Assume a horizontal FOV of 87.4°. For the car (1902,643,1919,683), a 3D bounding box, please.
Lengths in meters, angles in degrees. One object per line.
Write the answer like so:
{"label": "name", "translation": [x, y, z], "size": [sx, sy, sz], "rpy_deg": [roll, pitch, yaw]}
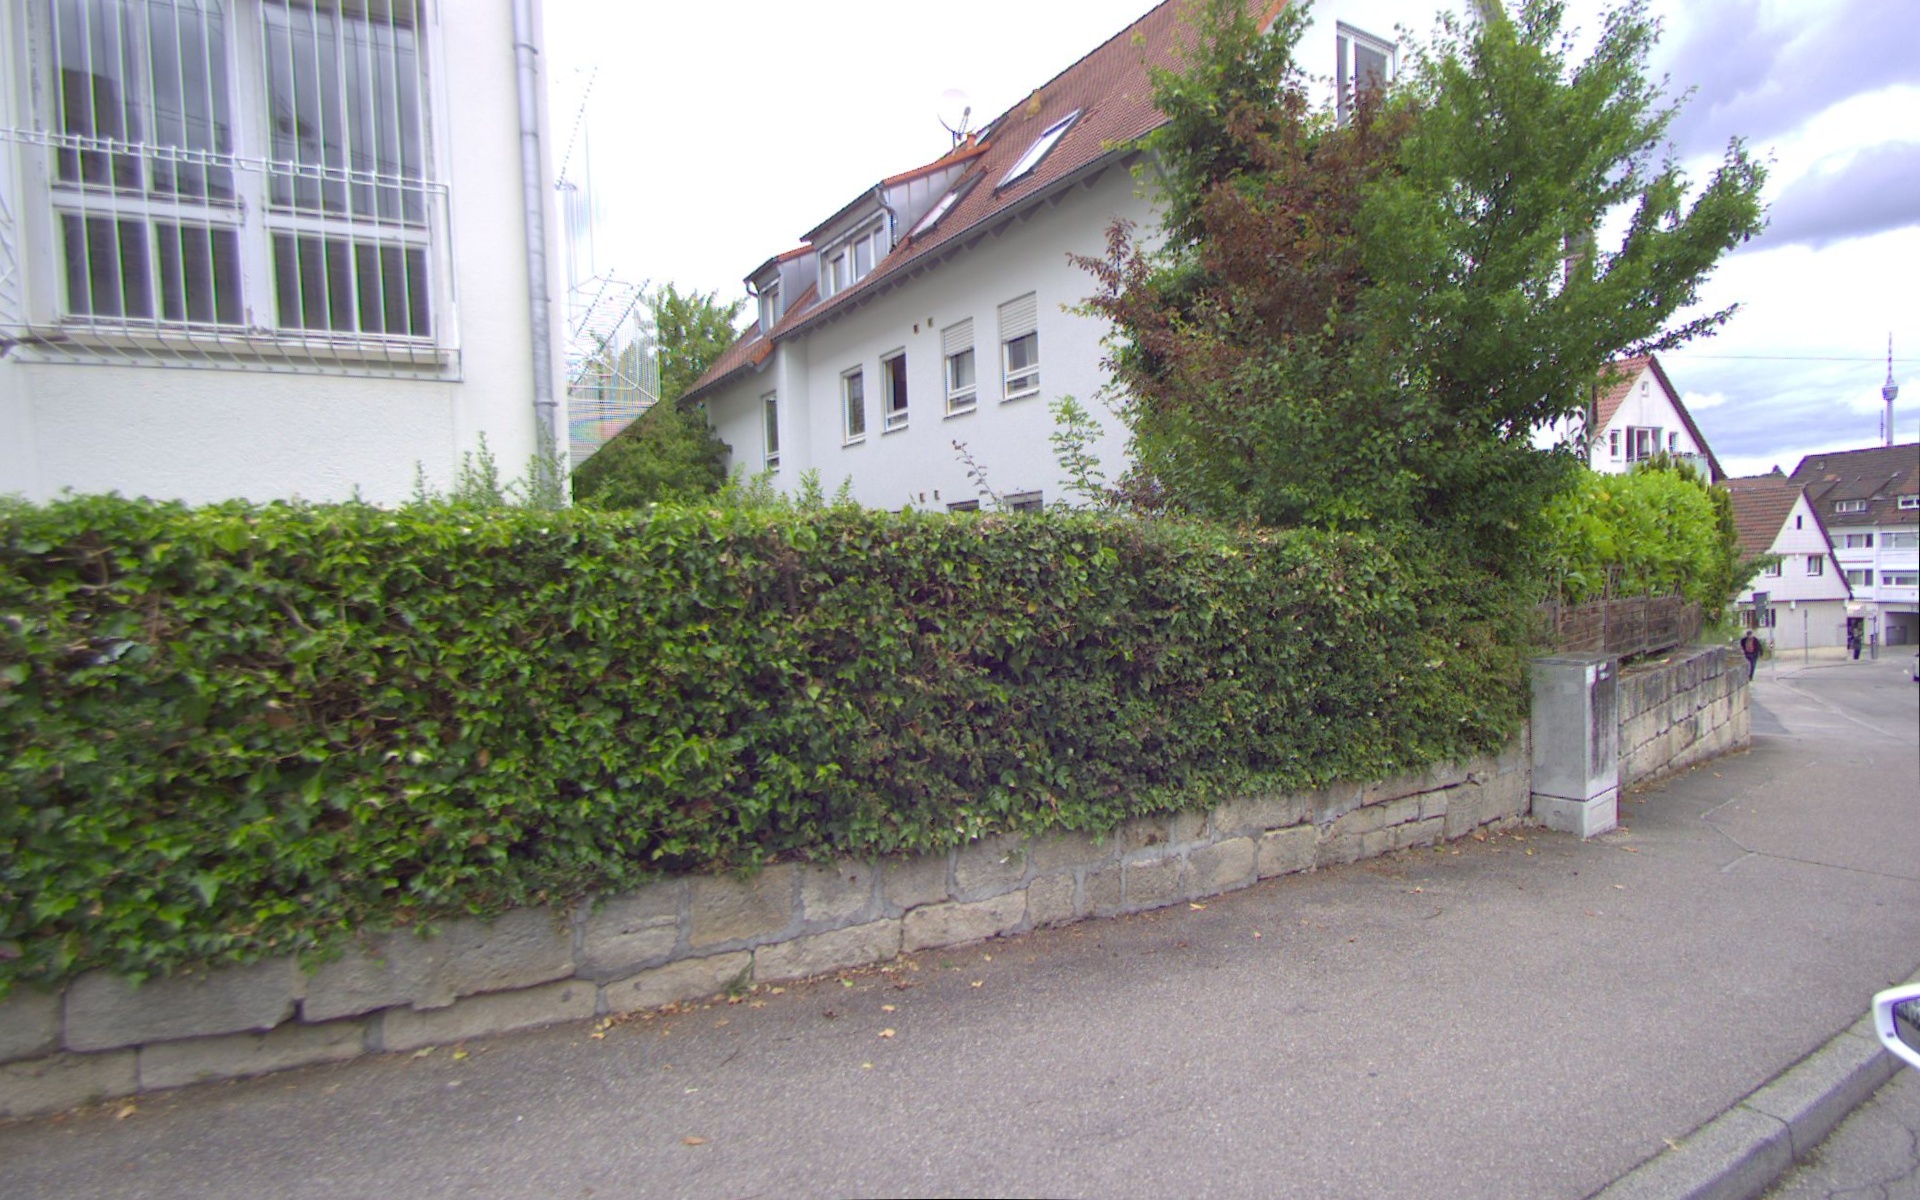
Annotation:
{"label": "car", "translation": [36.965, 2.402, 37.890], "size": [1.773, 1.465, 4.278], "rpy_deg": [2, -1, 40]}

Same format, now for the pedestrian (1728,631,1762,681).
{"label": "pedestrian", "translation": [27.631, 1.970, 35.363], "size": [0.829, 1.700, 0.973], "rpy_deg": [2, 0, 36]}

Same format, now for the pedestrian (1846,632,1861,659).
{"label": "pedestrian", "translation": [58.014, 2.972, 65.222], "size": [0.637, 1.707, 0.603], "rpy_deg": [0, 0, 29]}

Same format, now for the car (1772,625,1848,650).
{"label": "car", "translation": [66.197, 2.874, 78.278], "size": [1.911, 1.803, 4.363], "rpy_deg": [-1, 0, -8]}
